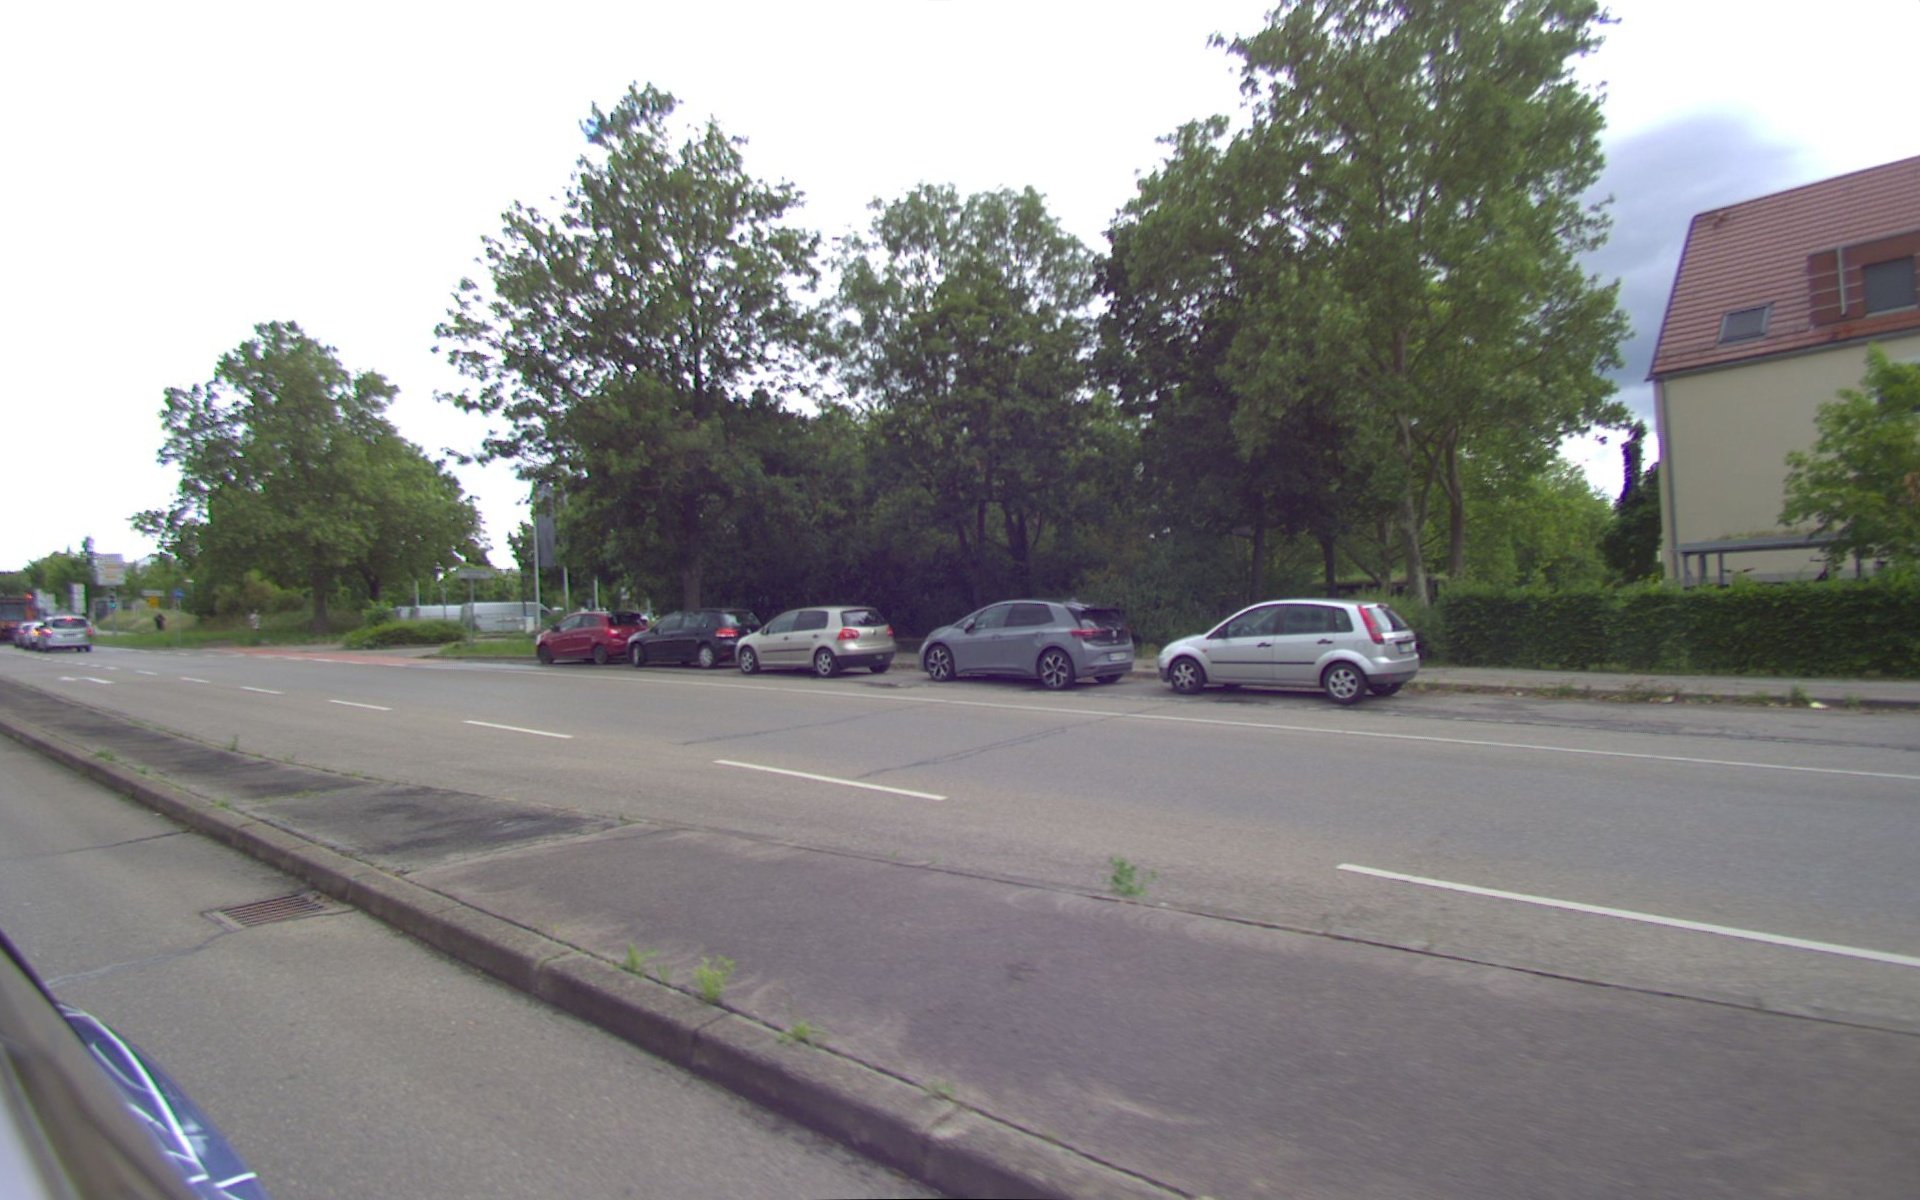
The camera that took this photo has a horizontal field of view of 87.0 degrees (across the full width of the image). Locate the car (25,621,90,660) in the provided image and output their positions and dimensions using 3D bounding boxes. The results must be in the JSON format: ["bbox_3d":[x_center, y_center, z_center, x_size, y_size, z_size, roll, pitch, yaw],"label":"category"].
[{"bbox_3d":[-45.492,2.004,50.973,4.403,1.783,1.810,-2,1,40],"label":"car"}]

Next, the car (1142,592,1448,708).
[{"bbox_3d":[4.991,0.698,15.381,3.999,1.518,1.855,-2,0,42],"label":"car"}]

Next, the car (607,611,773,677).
[{"bbox_3d":[-6.914,1.092,25.846,3.986,1.518,1.861,-1,1,32],"label":"car"}]

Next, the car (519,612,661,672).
[{"bbox_3d":[-10.539,1.171,28.787,3.878,1.518,1.860,-2,1,34],"label":"car"}]

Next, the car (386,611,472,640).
[{"bbox_3d":[-38.550,1.823,73.582,1.738,2.029,5.231,-1,-1,39],"label":"car"}]

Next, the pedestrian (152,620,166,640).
[{"bbox_3d":[-61.805,2.303,78.085,0.639,1.458,0.747,-1,1,41],"label":"pedestrian"}]

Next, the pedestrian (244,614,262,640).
[{"bbox_3d":[-47.580,1.814,68.121,0.637,1.750,0.749,-1,1,32],"label":"pedestrian"}]

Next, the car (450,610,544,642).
[{"bbox_3d":[-30.014,1.671,65.801,2.010,2.029,5.231,-1,-1,39],"label":"car"}]

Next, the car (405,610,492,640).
[{"bbox_3d":[-36.043,1.721,71.406,1.739,2.029,5.229,-1,-1,41],"label":"car"}]

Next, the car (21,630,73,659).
[{"bbox_3d":[-49.945,2.388,55.333,4.121,1.497,1.710,-2,-2,42],"label":"car"}]

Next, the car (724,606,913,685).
[{"bbox_3d":[-3.170,0.957,22.266,4.053,1.518,1.856,-1,1,40],"label":"car"}]

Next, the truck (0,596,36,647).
[{"bbox_3d":[-67.956,1.539,72.015,7.826,3.507,2.793,-1,0,45],"label":"truck"}]

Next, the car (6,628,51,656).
[{"bbox_3d":[-55.654,2.483,60.449,3.350,1.574,1.618,-2,-1,42],"label":"car"}]

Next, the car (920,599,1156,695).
[{"bbox_3d":[1.355,0.816,18.618,3.999,1.518,1.855,-2,0,42],"label":"car"}]
